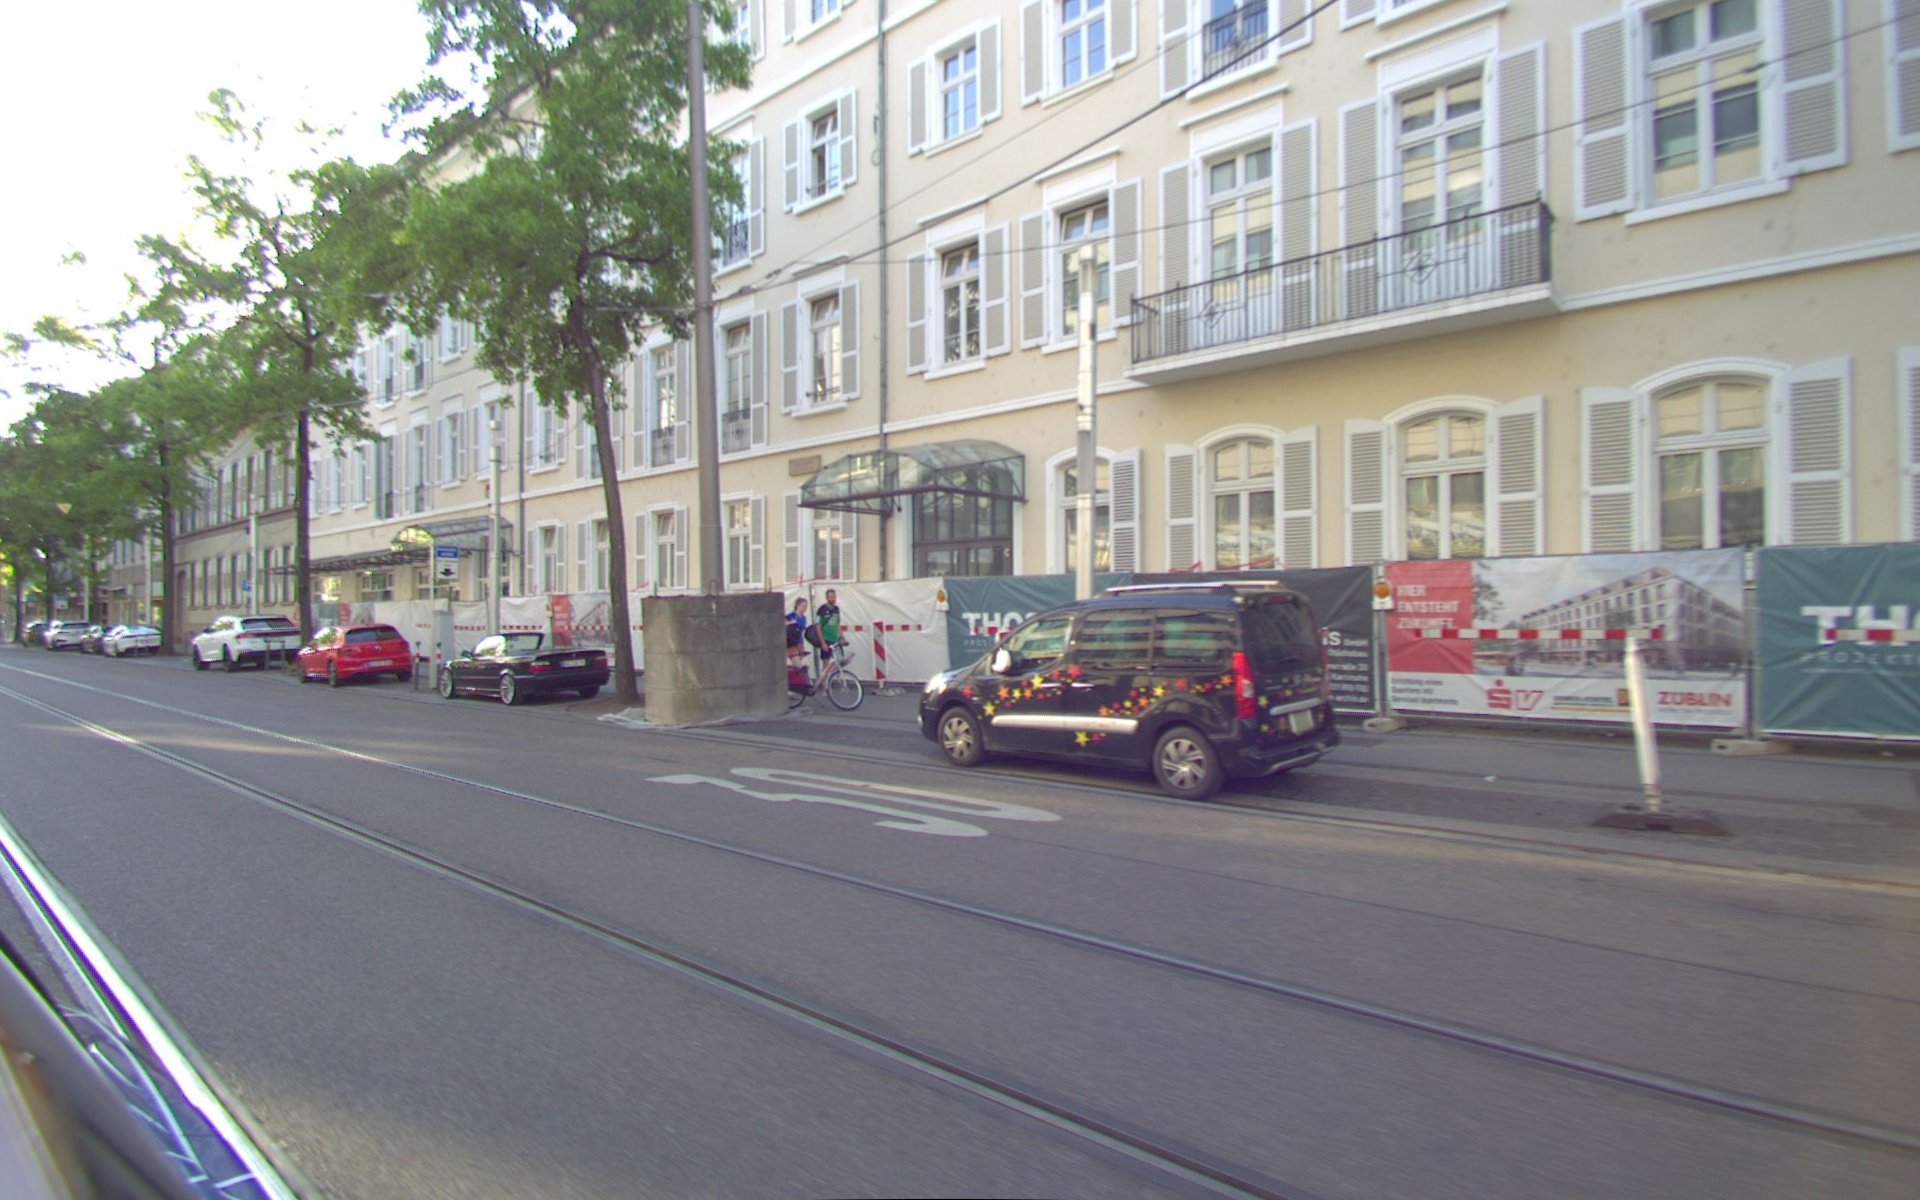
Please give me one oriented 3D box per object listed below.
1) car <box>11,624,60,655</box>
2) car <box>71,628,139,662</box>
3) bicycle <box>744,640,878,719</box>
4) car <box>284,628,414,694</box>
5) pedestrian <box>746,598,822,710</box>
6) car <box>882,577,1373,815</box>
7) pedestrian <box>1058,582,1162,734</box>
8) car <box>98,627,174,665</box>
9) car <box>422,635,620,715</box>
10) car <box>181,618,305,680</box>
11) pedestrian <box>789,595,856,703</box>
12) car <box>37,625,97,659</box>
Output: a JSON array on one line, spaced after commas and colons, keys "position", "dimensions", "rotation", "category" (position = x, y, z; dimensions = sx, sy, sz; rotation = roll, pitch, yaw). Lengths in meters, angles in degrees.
[{"position": [-61.297, 2.635, 67.098], "dimensions": [4.764, 1.972, 1.906], "rotation": [-2, -3, 42], "category": "car"}, {"position": [-41.696, 2.199, 49.316], "dimensions": [4.338, 1.478, 1.724], "rotation": [-2, 1, 39], "category": "car"}, {"position": [-2.374, 1.237, 16.036], "dimensions": [2.039, 1.130, 0.753], "rotation": [-2, 1, 31], "category": "bicycle"}, {"position": [-15.287, 1.449, 25.229], "dimensions": [4.140, 1.416, 1.642], "rotation": [-2, 1, 43], "category": "car"}, {"position": [-2.997, 0.896, 17.236], "dimensions": [0.884, 1.795, 0.856], "rotation": [-2, 1, 41], "category": "pedestrian"}, {"position": [1.449, 0.783, 10.083], "dimensions": [4.559, 1.846, 1.837], "rotation": [-2, -1, 43], "category": "car"}, {"position": [1.882, 0.696, 12.729], "dimensions": [0.984, 1.805, 0.766], "rotation": [-2, 1, 43], "category": "pedestrian"}, {"position": [-35.831, 1.970, 43.958], "dimensions": [4.616, 1.477, 1.872], "rotation": [-2, 1, 42], "category": "car"}, {"position": [-8.500, 1.354, 19.394], "dimensions": [4.506, 1.254, 1.700], "rotation": [-2, 1, 41], "category": "car"}, {"position": [-22.481, 1.501, 31.664], "dimensions": [4.945, 1.701, 1.847], "rotation": [-2, 1, 39], "category": "car"}, {"position": [-2.425, 0.849, 17.847], "dimensions": [0.876, 1.826, 0.711], "rotation": [-2, 1, 41], "category": "pedestrian"}, {"position": [-50.360, 2.360, 57.021], "dimensions": [4.764, 1.754, 1.927], "rotation": [-2, 1, 42], "category": "car"}]
